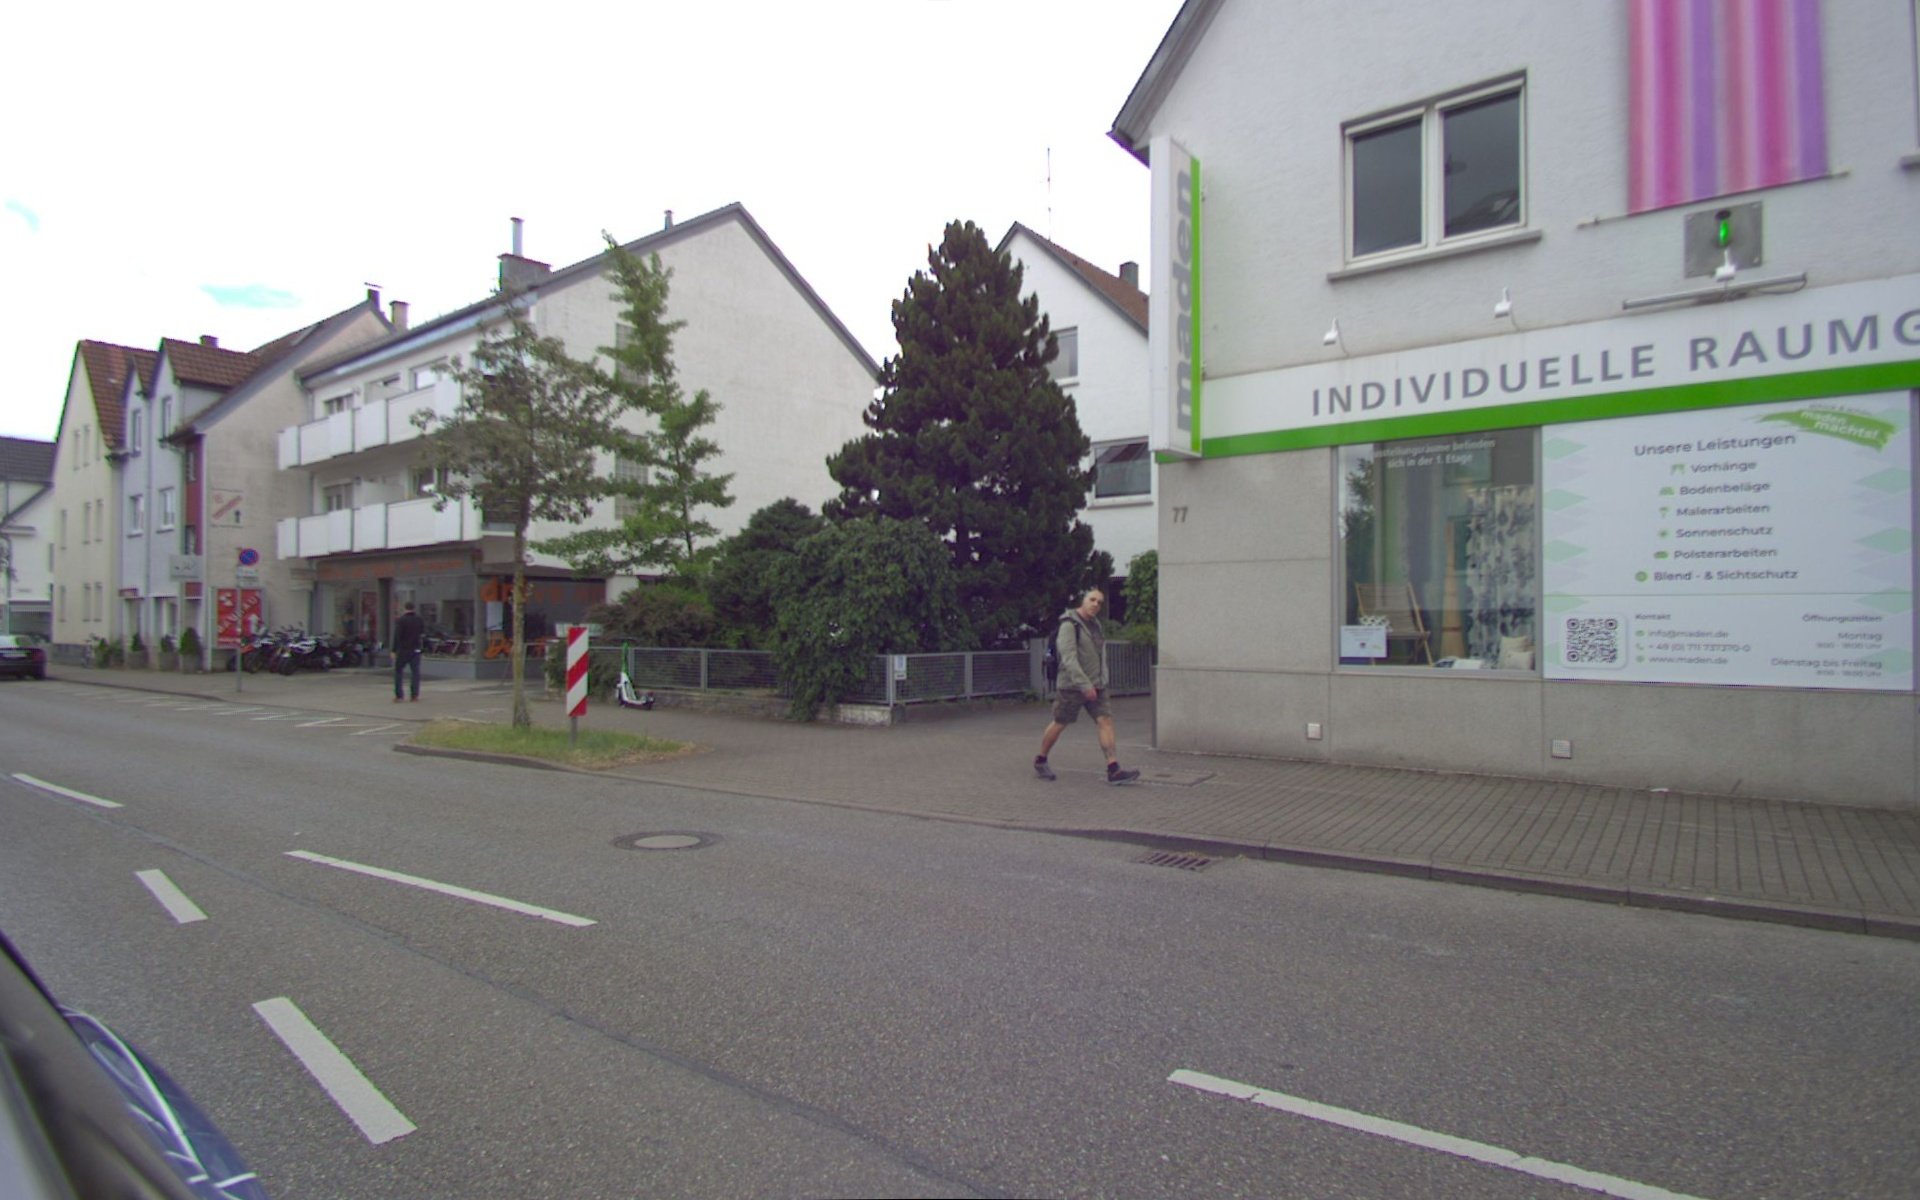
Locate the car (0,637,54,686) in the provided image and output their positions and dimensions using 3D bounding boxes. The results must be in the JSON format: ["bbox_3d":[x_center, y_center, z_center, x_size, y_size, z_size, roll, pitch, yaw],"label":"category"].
[{"bbox_3d":[-29.744,1.867,31.308,4.334,1.428,1.771,-1,-2,38],"label":"car"}]

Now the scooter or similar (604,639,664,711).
[{"bbox_3d":[-5.344,1.215,16.561,1.178,1.120,0.336,-1,-1,39],"label":"scooter or similar"}]

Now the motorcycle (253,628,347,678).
[{"bbox_3d":[-19.360,1.529,29.718,0.612,1.275,2.205,-1,1,37],"label":"motorcycle"}]

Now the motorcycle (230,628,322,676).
[{"bbox_3d":[-20.685,1.559,30.664,0.612,1.275,2.205,-1,1,37],"label":"motorcycle"}]

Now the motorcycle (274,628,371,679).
[{"bbox_3d":[-18.025,1.498,28.673,0.612,1.275,2.205,-1,1,37],"label":"motorcycle"}]

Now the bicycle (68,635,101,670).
[{"bbox_3d":[-31.615,1.881,36.528,2.020,1.205,0.509,-1,-1,38],"label":"bicycle"}]

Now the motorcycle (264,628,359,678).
[{"bbox_3d":[-18.693,1.512,29.231,0.612,1.275,2.205,-1,1,37],"label":"motorcycle"}]

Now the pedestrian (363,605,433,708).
[{"bbox_3d":[-10.663,1.050,19.193,1.018,1.863,0.744,-1,2,39],"label":"pedestrian"}]

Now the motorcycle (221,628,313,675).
[{"bbox_3d":[-21.260,1.561,31.098,0.612,1.275,2.205,-1,1,37],"label":"motorcycle"}]

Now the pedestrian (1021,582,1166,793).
[{"bbox_3d":[1.197,0.738,9.090,1.018,1.756,0.744,-1,1,39],"label":"pedestrian"}]

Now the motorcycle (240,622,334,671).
[{"bbox_3d":[-20.031,1.361,30.183,0.698,1.275,2.205,-1,1,37],"label":"motorcycle"}]
